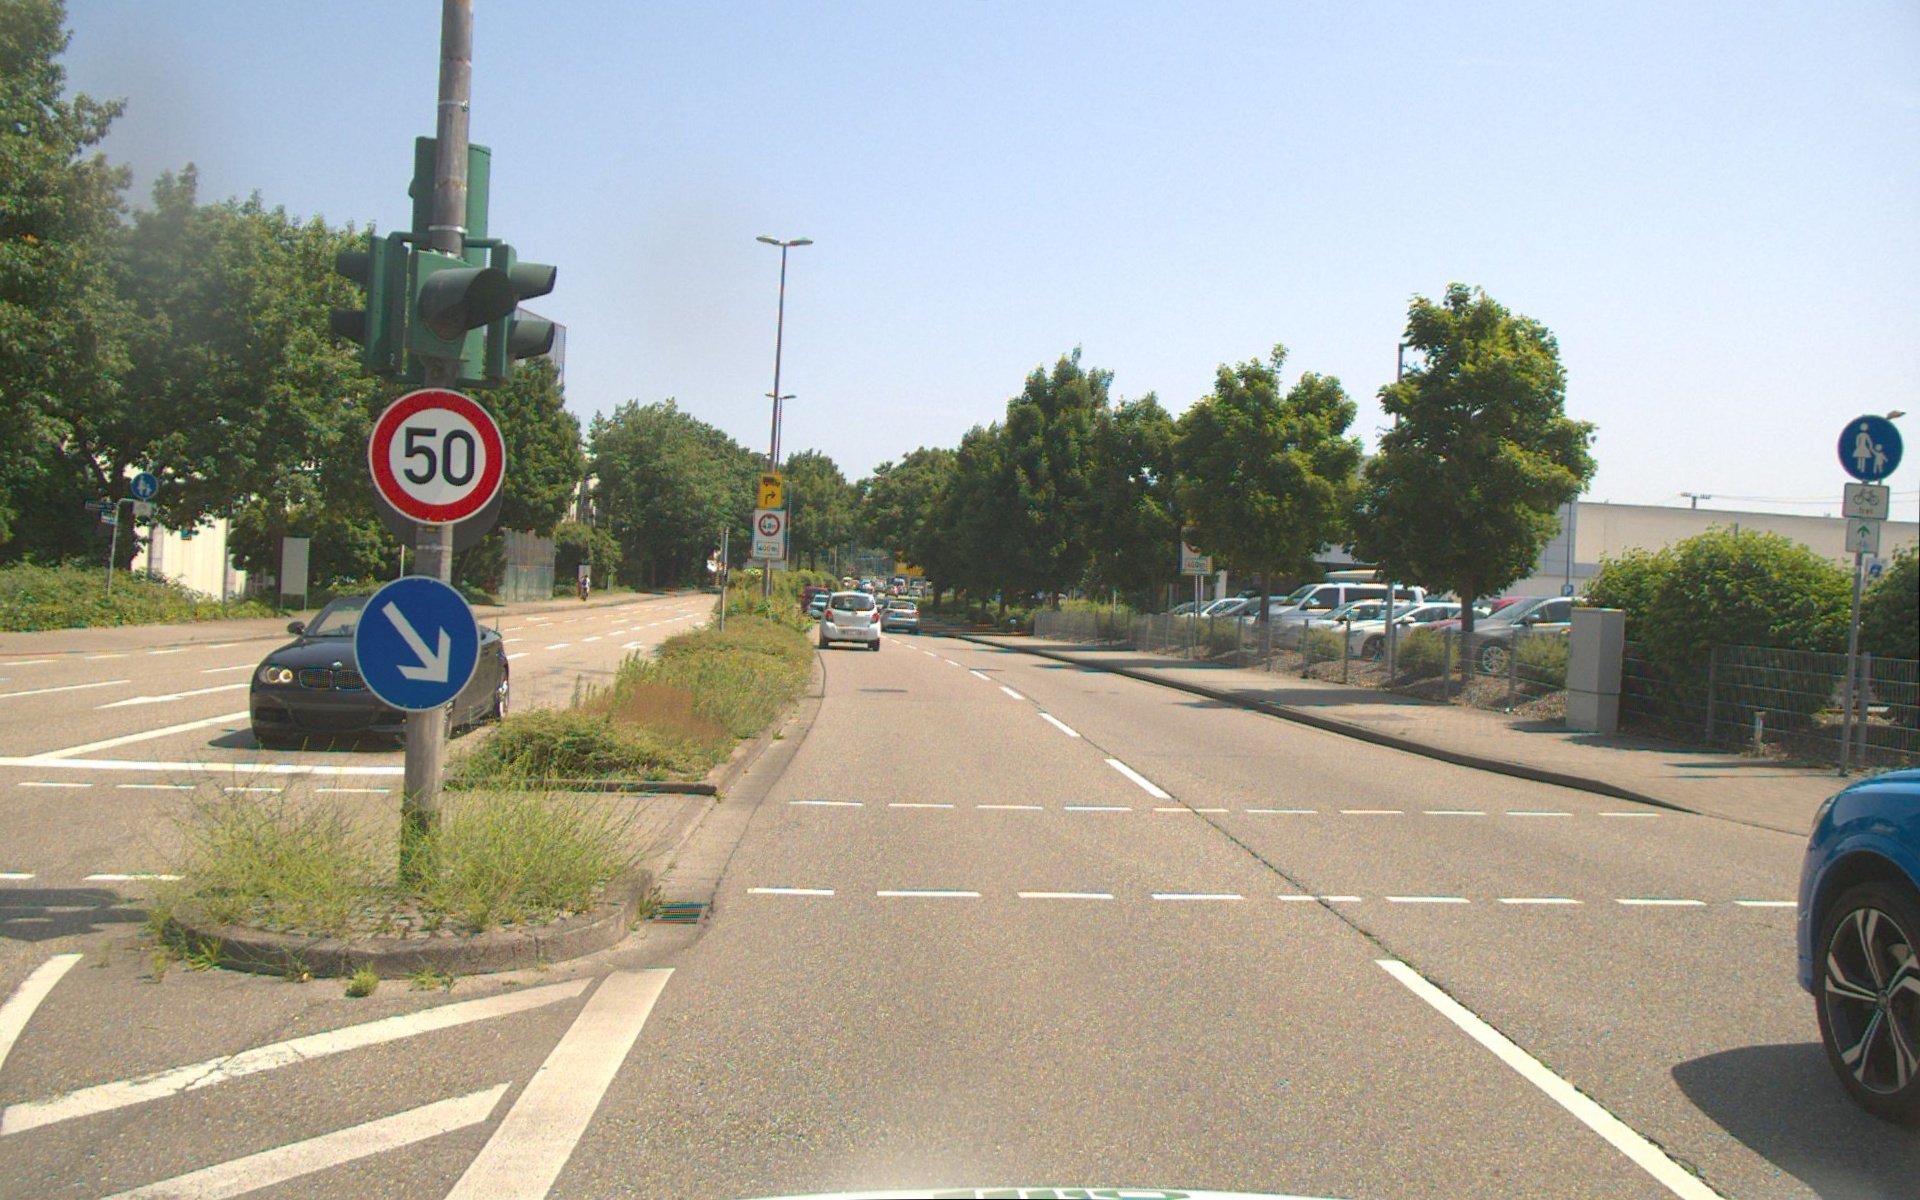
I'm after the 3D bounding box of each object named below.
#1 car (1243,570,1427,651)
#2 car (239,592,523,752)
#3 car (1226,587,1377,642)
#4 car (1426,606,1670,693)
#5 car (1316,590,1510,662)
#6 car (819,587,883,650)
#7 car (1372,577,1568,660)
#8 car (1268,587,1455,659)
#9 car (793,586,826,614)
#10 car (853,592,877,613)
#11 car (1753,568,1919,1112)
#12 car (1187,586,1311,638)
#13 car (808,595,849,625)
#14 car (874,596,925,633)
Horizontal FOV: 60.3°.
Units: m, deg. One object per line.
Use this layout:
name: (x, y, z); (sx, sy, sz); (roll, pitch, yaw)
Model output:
car: (10.242, 0.276, 45.381); (4.527, 1.958, 1.825); (3, 0, -5)
car: (-5.545, 0.621, 16.371); (1.696, 1.347, 4.144); (1, 0, -6)
car: (9.920, 0.404, 48.149); (3.909, 1.414, 1.825); (3, 0, -5)
car: (11.318, 0.937, 31.984); (4.087, 1.446, 1.697); (3, 0, -3)
car: (10.373, 0.574, 37.976); (3.919, 1.446, 1.696); (3, 0, -6)
car: (-3.054, 0.494, 45.851); (1.607, 1.579, 3.322); (3, 0, -5)
car: (10.725, 0.379, 34.902); (3.523, 1.563, 1.720); (3, 0, -9)
car: (10.269, 0.571, 42.504); (4.280, 1.620, 1.826); (3, 0, -3)
car: (-9.097, 0.000, 99.800); (1.849, 1.636, 3.994); (1, 0, -6)
car: (-6.547, 0.146, 113.613); (1.413, 1.372, 3.455); (1, 0, -6)
car: (3.759, 0.731, 3.779); (1.772, 1.620, 4.349); (1, 0, -1)
car: (10.283, 0.428, 58.981); (3.914, 1.624, 1.823); (3, 0, -9)
car: (-6.763, 0.476, 84.814); (1.849, 1.377, 3.994); (4, 0, -7)
car: (-2.793, 0.654, 75.565); (1.831, 1.498, 3.993); (4, 0, -8)
